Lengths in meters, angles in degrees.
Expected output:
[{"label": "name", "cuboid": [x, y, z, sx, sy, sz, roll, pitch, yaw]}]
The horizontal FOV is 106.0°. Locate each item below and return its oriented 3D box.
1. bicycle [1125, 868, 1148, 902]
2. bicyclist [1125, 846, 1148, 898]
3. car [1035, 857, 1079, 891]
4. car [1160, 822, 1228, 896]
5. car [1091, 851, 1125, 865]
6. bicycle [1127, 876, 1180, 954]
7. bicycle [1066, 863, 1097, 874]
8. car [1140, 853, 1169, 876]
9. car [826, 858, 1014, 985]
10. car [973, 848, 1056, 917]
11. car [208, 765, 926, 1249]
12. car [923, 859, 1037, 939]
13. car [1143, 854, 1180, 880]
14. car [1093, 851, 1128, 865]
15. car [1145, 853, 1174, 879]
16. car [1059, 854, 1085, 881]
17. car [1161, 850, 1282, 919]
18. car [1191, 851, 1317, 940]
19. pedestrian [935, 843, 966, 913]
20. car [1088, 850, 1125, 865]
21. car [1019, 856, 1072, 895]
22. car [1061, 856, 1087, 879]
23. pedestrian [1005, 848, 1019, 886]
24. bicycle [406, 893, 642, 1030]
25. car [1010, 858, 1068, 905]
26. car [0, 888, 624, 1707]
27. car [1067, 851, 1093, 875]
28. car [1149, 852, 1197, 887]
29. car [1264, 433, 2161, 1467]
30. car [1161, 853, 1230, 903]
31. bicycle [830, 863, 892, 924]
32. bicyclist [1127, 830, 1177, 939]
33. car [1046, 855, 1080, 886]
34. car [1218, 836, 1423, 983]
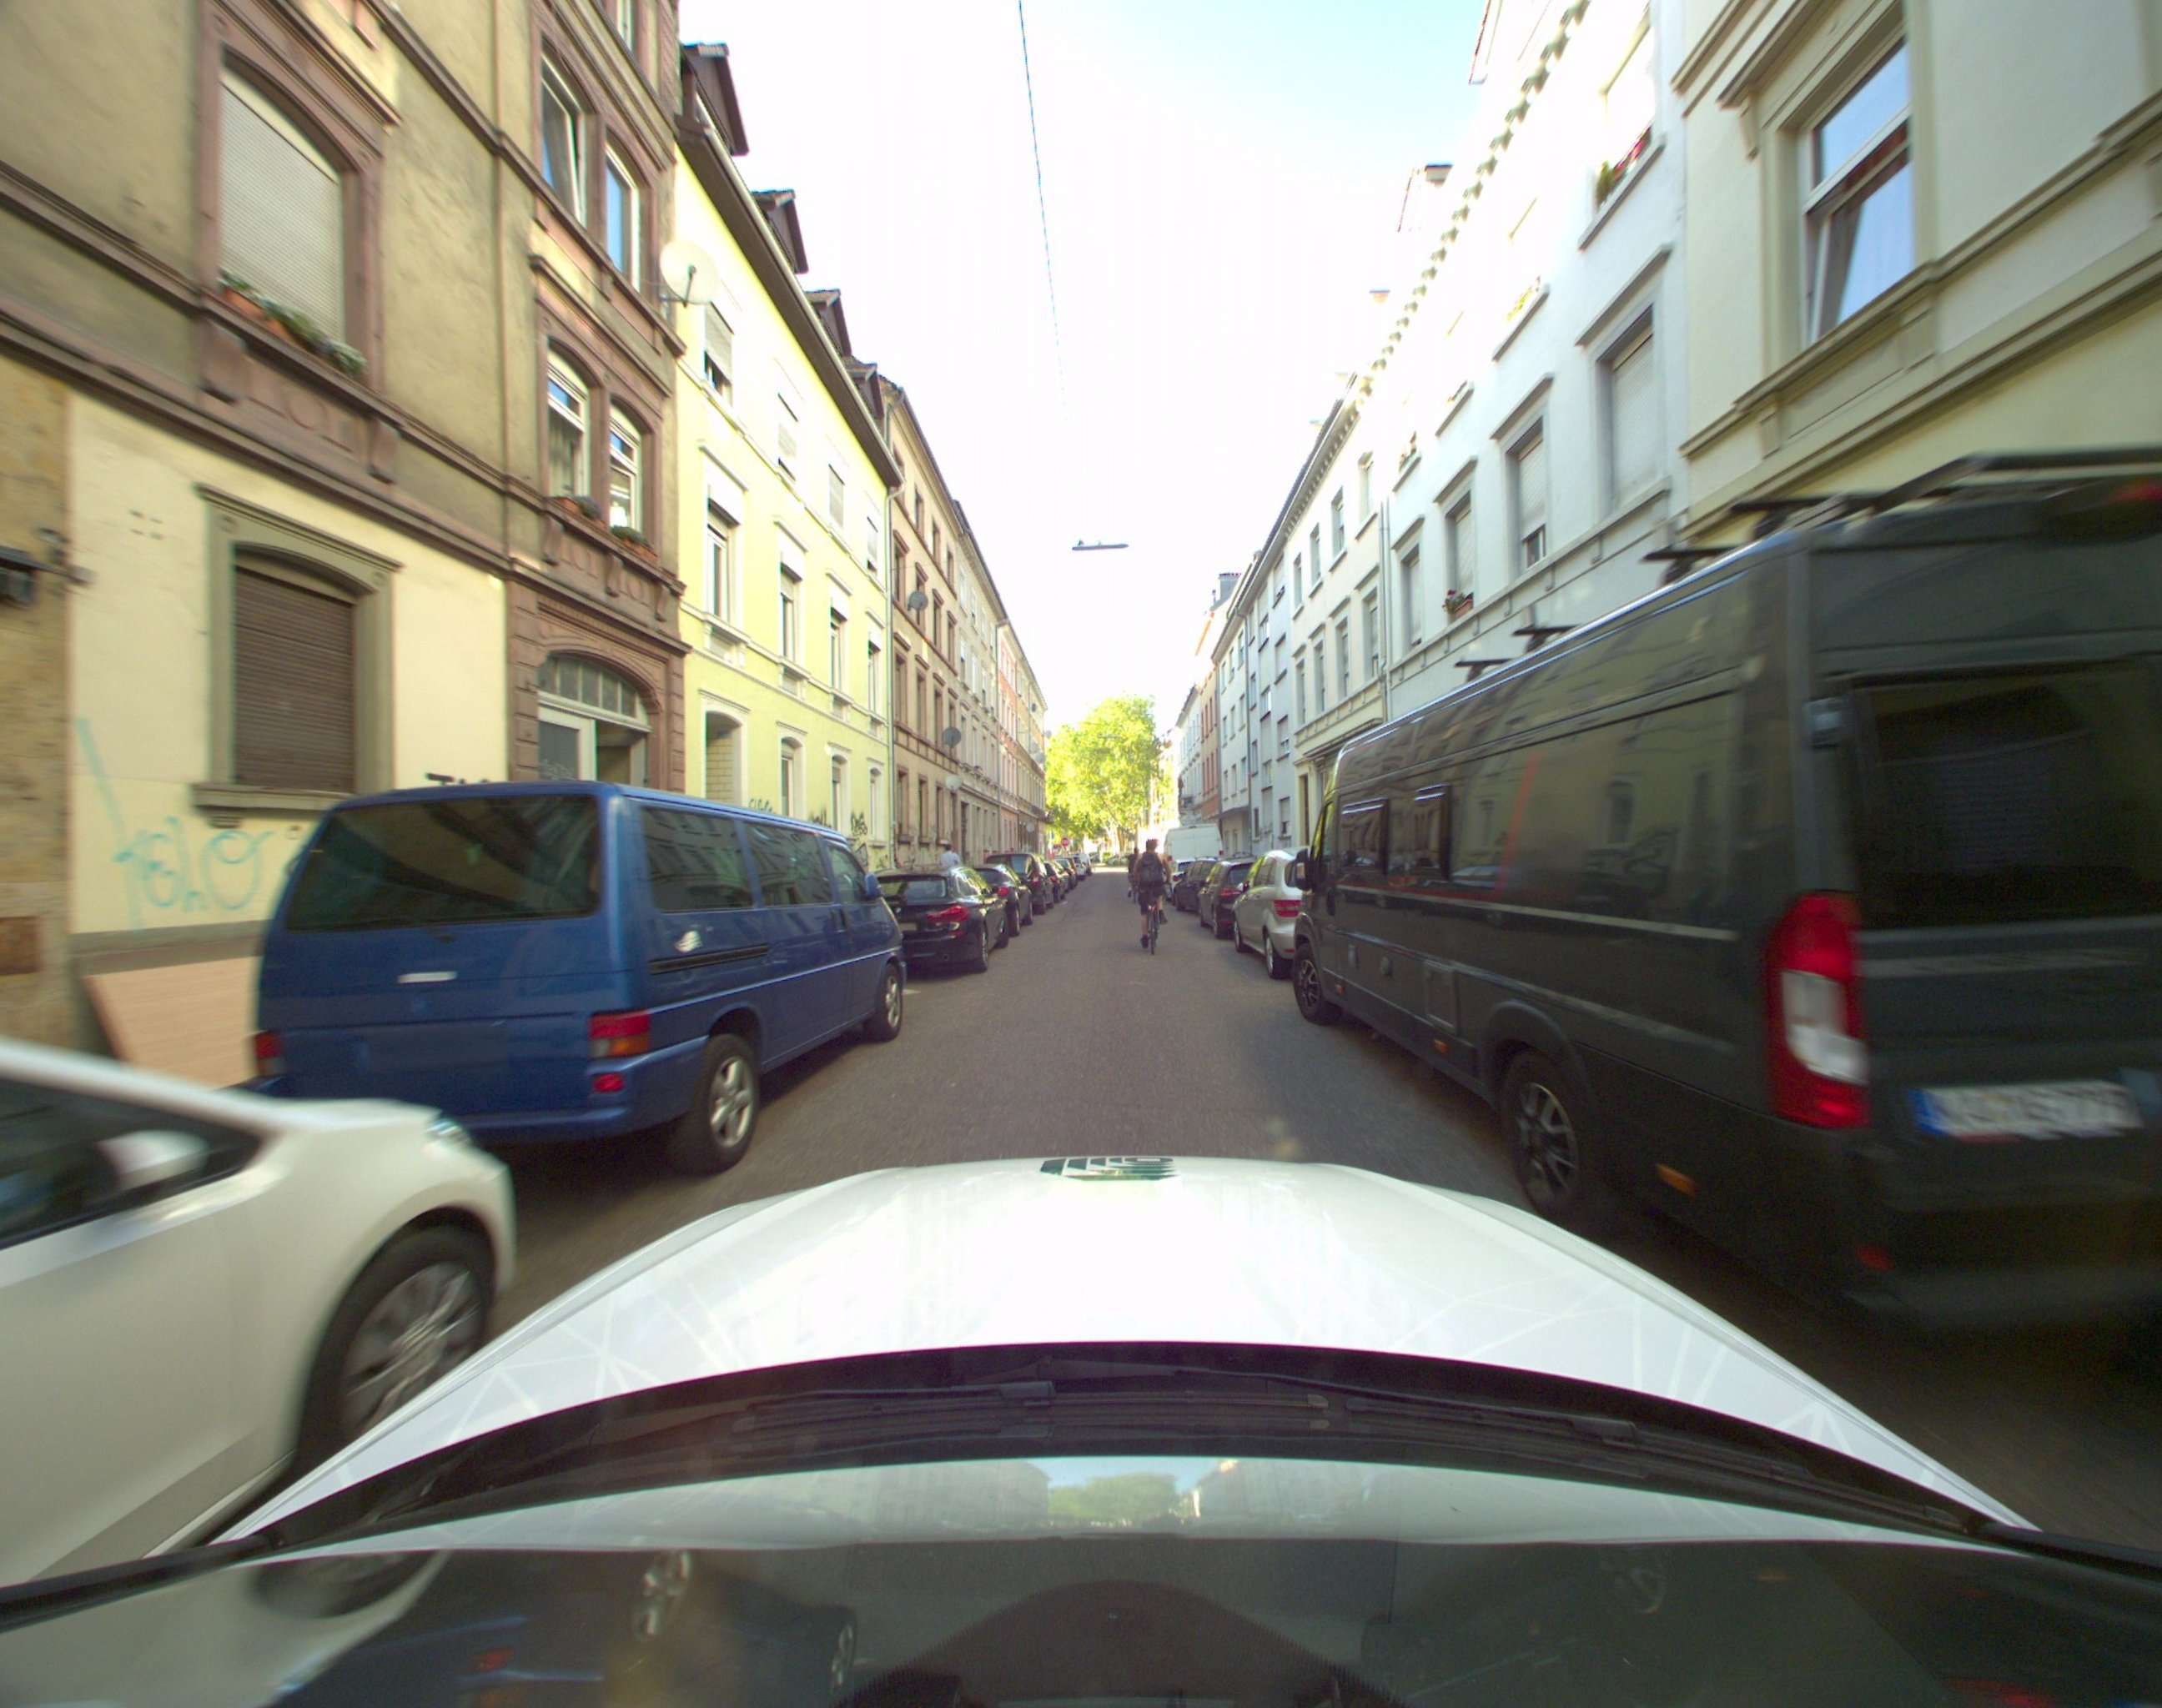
[{"label": "bicycle", "cuboid": [1.824, 1.003, 26.808, 0.661, 1.037, 1.960, -2, 0, 2]}, {"label": "bicyclist", "cuboid": [1.809, 0.584, 26.711, 0.667, 1.658, 0.877, -2, 0, 2]}, {"label": "car", "cuboid": [-1.077, 0.889, 38.418, 1.699, 1.414, 4.304, -2, 0, 2]}, {"label": "car", "cuboid": [4.258, 0.170, 31.634, 2.194, 2.551, 6.043, -2, 0, 4]}, {"label": "car", "cuboid": [3.646, 0.507, 110.754, 4.458, 1.696, 1.865, -2, 0, -3]}, {"label": "bicycle", "cuboid": [1.129, 0.930, 13.106, 0.737, 1.100, 2.043, 0, 0, 2]}, {"label": "bicycle", "cuboid": [0.041, 1.308, 72.454, 2.707, 0.892, 0.618, -2, 0, -1]}, {"label": "car", "cuboid": [5.057, 0.725, 56.416, 1.704, 1.470, 4.000, -2, 0, 1]}, {"label": "car", "cuboid": [-2.176, 0.848, 12.389, 1.856, 1.440, 4.645, -2, 0, 0]}, {"label": "car", "cuboid": [-1.805, 0.742, 23.411, 1.794, 1.698, 4.002, -4, 0, 2]}, {"label": "car", "cuboid": [-2.586, 0.639, 5.692, 1.820, 1.891, 4.616, -4, 0, 2]}, {"label": "car", "cuboid": [-2.021, 0.875, 17.451, 1.730, 1.427, 4.002, -2, 0, 2]}, {"label": "car", "cuboid": [4.485, 0.726, 45.874, 1.652, 1.338, 4.000, -2, 0, 1]}, {"label": "car", "cuboid": [3.827, 0.496, 107.306, 4.458, 1.696, 1.865, -2, 0, -3]}, {"label": "car", "cuboid": [4.866, 0.707, 50.959, 1.586, 1.492, 3.878, -2, 0, 3]}, {"label": "car", "cuboid": [-0.557, 0.812, 50.750, 1.540, 1.550, 3.464, -2, 0, -1]}, {"label": "car", "cuboid": [3.547, 0.703, 21.536, 1.810, 1.478, 4.597, -5, 1, -7]}, {"label": "car", "cuboid": [3.314, 0.723, 16.366, 1.739, 1.485, 4.245, -2, 0, 2]}, {"label": "pedestrian", "cuboid": [-3.455, 0.618, 21.628, 0.648, 1.817, 0.754, 1, 0, 3]}, {"label": "car", "cuboid": [3.144, 0.452, 102.316, 4.458, 1.759, 1.865, -2, 0, -3]}, {"label": "car", "cuboid": [-1.401, 0.851, 33.363, 1.666, 1.430, 3.893, -2, 0, 4]}, {"label": "car", "cuboid": [-0.438, 0.879, 54.514, 1.547, 1.399, 3.669, -2, 0, 2]}, {"label": "pedestrian", "cuboid": [-3.437, 0.655, 40.530, 0.608, 1.858, 0.754, 1, 0, 2]}, {"label": "bicycle", "cuboid": [-5.256, 0.952, 7.894, 0.752, 1.021, 2.031, 2, 0, 3]}, {"label": "car", "cuboid": [-1.406, 0.899, 28.382, 1.585, 1.440, 3.657, -2, 0, 3]}, {"label": "car", "cuboid": [-2.564, 0.877, 1.101, 1.640, 1.447, 3.840, -2, 0, 1]}, {"label": "car", "cuboid": [-0.051, 0.672, 62.950, 1.781, 1.737, 3.878, -2, 0, 2]}, {"label": "car", "cuboid": [4.239, 0.693, 38.168, 1.726, 1.470, 4.020, -2, 0, 0]}, {"label": "car", "cuboid": [2.891, 0.195, 5.090, 2.167, 2.425, 6.312, -3, 0, 2]}, {"label": "car", "cuboid": [3.604, 0.724, 26.202, 1.719, 1.429, 3.833, -2, 0, 1]}, {"label": "bicycle", "cuboid": [-4.893, 0.840, 18.303, 0.665, 1.245, 2.328, 2, 0, 2]}, {"label": "bicyclist", "cuboid": [1.119, 0.468, 13.043, 0.737, 1.679, 1.117, 0, 0, 2]}, {"label": "car", "cuboid": [-0.932, 0.834, 43.378, 1.599, 1.530, 3.379, -3, 0, 1]}, {"label": "car", "cuboid": [3.141, 0.644, 11.615, 1.687, 1.608, 4.377, -3, 0, 2]}]
